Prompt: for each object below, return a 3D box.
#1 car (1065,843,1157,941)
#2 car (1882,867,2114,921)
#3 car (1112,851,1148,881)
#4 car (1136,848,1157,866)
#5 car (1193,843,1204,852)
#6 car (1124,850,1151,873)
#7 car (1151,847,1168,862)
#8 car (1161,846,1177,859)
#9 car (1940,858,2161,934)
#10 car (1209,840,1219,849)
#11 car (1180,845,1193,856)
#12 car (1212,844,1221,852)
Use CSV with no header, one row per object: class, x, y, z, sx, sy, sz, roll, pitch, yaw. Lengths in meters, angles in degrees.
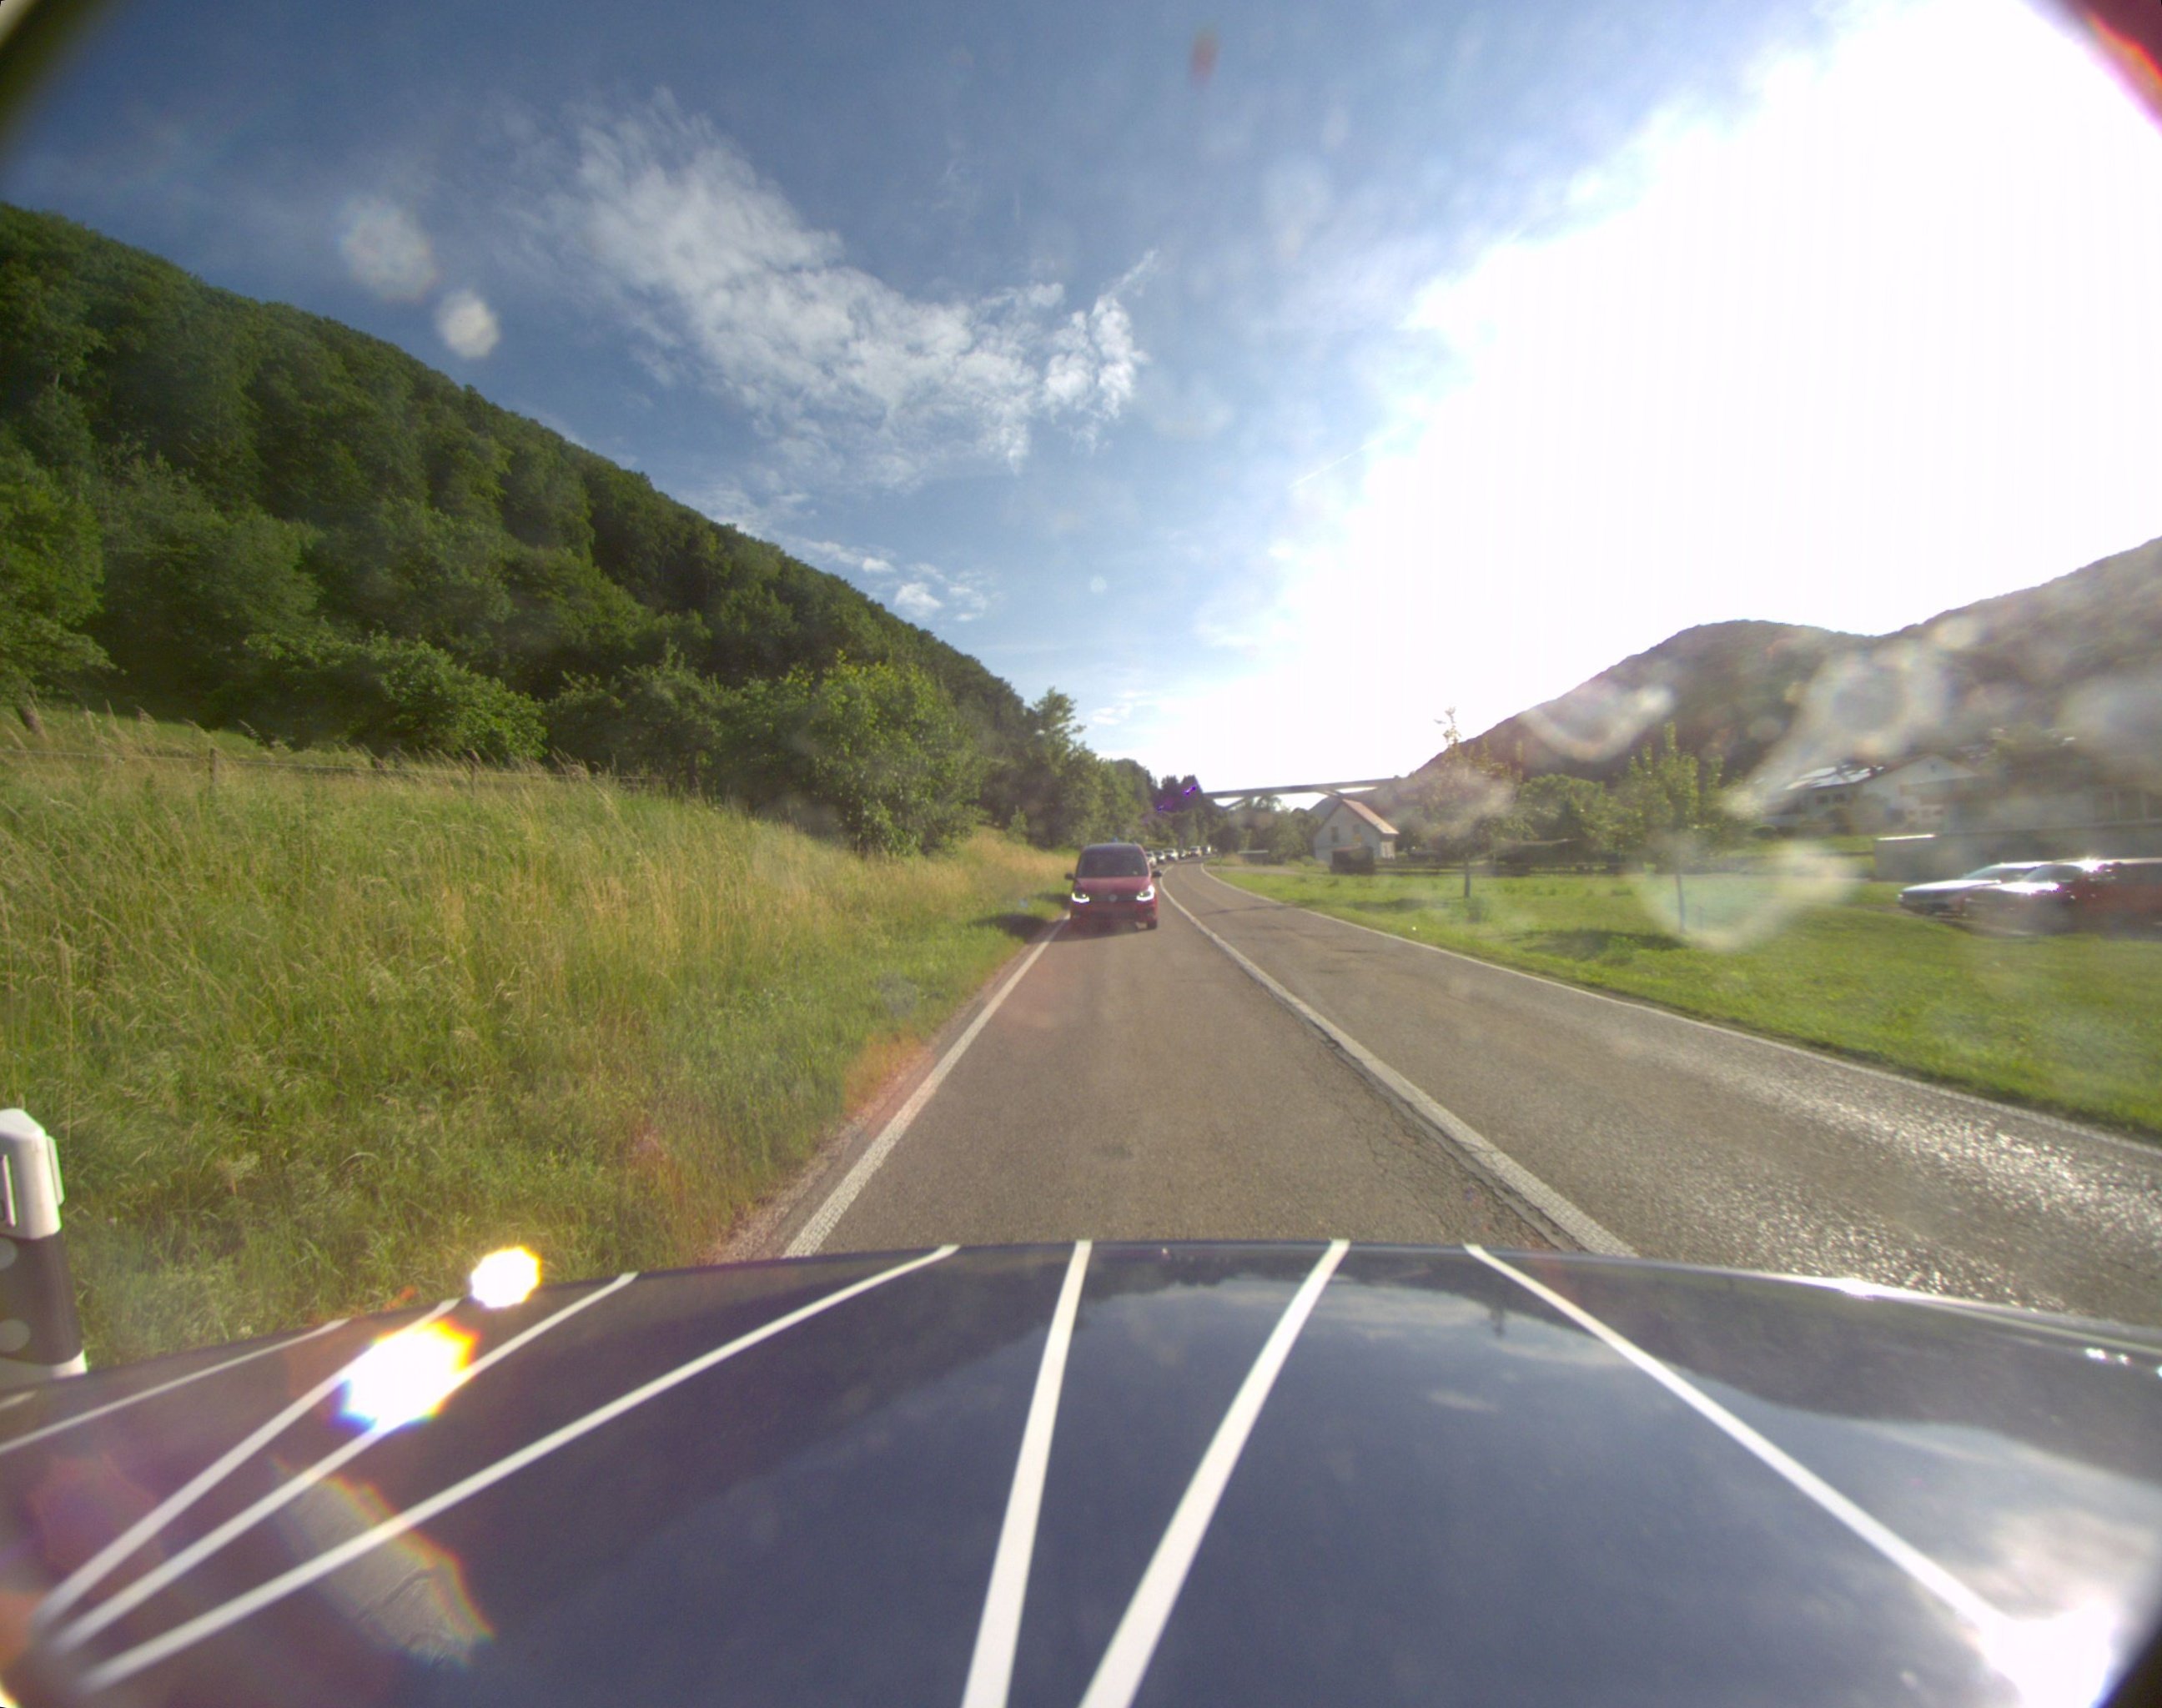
car,0.703,0.682,16.172,1.649,1.762,4.000,-2,1,4
car,26.013,1.125,21.722,3.892,1.360,1.854,-1,1,13
car,2.694,0.625,41.342,1.629,1.470,3.681,-2,1,8
car,5.878,0.214,67.662,1.629,1.470,3.681,-2,1,8
car,19.060,-1.055,123.161,1.629,1.470,3.681,-2,1,7
car,4.043,0.500,54.077,1.629,1.470,3.681,-2,1,8
car,8.374,-0.008,80.839,1.629,1.470,3.680,-2,1,4
car,10.687,-0.205,92.325,1.629,1.470,3.680,-2,1,4
car,24.838,1.032,18.852,4.327,1.659,1.850,-2,1,16
car,23.890,-1.764,136.752,1.629,1.470,3.682,-2,1,11
car,14.833,-0.469,106.882,1.629,1.470,3.682,-2,1,11
car,26.584,-1.113,148.969,1.629,1.470,3.682,-2,1,11
